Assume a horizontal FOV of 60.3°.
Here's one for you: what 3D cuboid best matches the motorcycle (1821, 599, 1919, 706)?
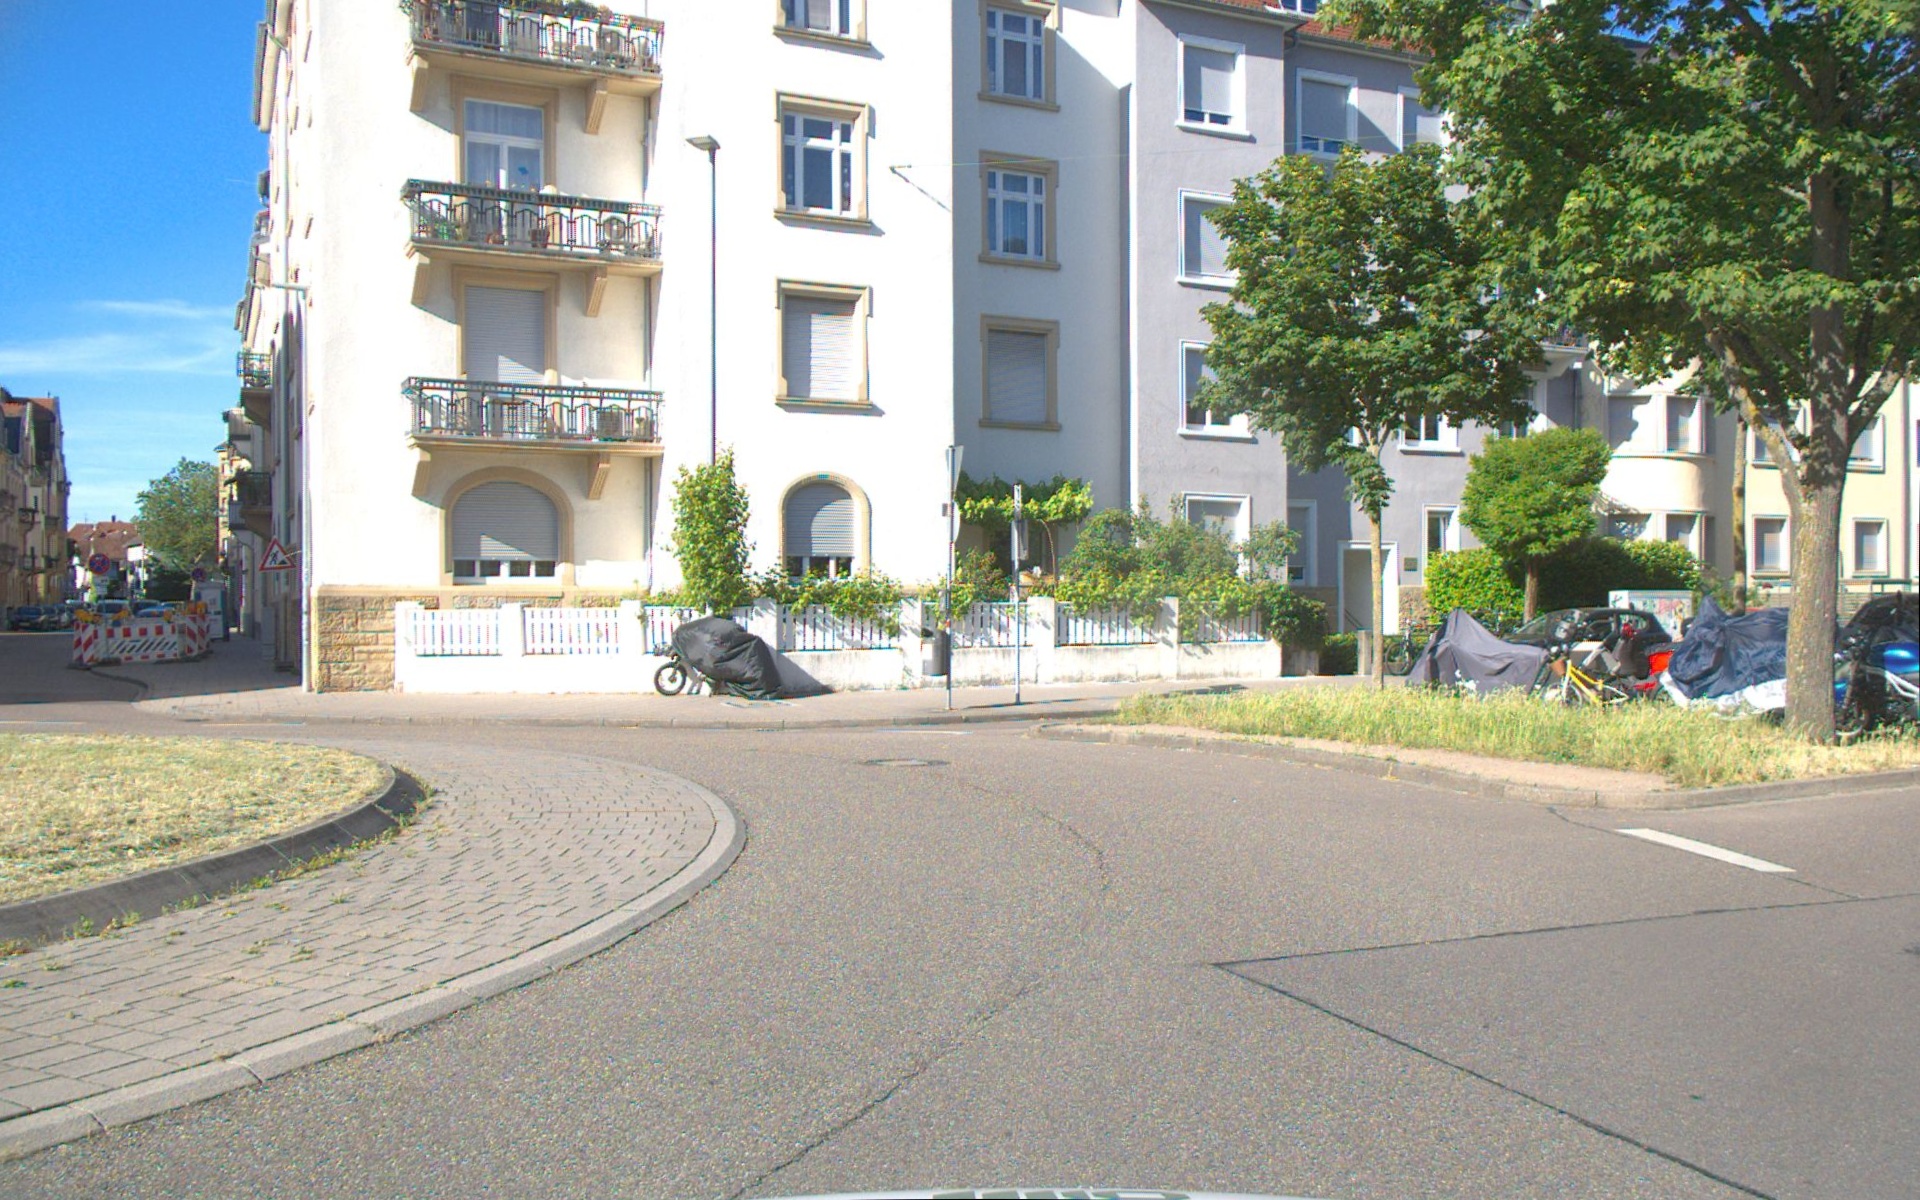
[{"bbox_3d":[11.869,0.626,20.204,1.036,1.290,2.223,0,0,-26],"label":"motorcycle"}]

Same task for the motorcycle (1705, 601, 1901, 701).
[{"bbox_3d":[11.553,0.675,22.752,1.036,1.290,2.223,0,0,-26],"label":"motorcycle"}]

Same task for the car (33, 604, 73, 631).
[{"bbox_3d":[-60.245,1.175,109.897,1.979,1.647,4.450,2,-2,-26],"label":"car"}]

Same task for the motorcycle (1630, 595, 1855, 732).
[{"bbox_3d":[8.194,0.634,17.416,0.851,1.351,2.033,0,0,-30],"label":"motorcycle"}]

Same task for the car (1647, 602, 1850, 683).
[{"bbox_3d":[15.394,0.790,32.275,3.800,1.470,1.736,0,0,-30],"label":"car"}]

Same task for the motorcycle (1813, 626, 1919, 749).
[{"bbox_3d":[9.143,0.823,15.611,0.802,1.091,1.830,0,1,-26],"label":"motorcycle"}]

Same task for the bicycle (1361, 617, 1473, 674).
[{"bbox_3d":[9.037,0.884,32.703,2.220,1.078,0.677,-1,0,-25],"label":"bicycle"}]

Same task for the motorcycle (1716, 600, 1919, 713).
[{"bbox_3d":[10.550,0.653,20.237,1.036,1.290,2.223,0,0,-26],"label":"motorcycle"}]

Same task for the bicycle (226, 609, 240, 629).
[{"bbox_3d":[-46.932,1.203,106.735,0.751,1.268,2.571,0,0,-25],"label":"bicycle"}]

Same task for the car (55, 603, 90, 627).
[{"bbox_3d":[-65.677,1.133,122.426,1.979,1.647,4.450,2,-2,-26],"label":"car"}]

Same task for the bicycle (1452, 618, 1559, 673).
[{"bbox_3d":[11.174,0.916,33.886,2.220,1.078,0.677,-1,0,-25],"label":"bicycle"}]

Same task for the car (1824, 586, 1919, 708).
[{"bbox_3d":[14.014,0.635,23.285,1.760,1.668,3.877,-1,0,2],"label":"car"}]

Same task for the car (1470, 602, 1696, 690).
[{"bbox_3d":[11.282,0.818,29.913,3.900,1.470,1.736,0,-2,-30],"label":"car"}]

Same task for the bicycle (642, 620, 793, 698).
[{"bbox_3d":[-3.814,0.919,26.031,2.230,1.178,0.767,0,-1,17],"label":"bicycle"}]

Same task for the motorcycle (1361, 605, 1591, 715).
[{"bbox_3d":[6.524,0.724,21.100,1.112,1.290,2.754,0,0,-32],"label":"motorcycle"}]

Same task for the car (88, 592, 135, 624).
[{"bbox_3d":[-41.776,0.410,81.468,1.815,1.456,3.998,-1,-1,-24],"label":"car"}]

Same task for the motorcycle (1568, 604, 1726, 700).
[{"bbox_3d":[9.372,0.686,22.637,0.876,1.258,1.878,0,0,-26],"label":"motorcycle"}]

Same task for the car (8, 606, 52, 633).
[{"bbox_3d":[-52.764,1.135,93.931,1.657,1.451,4.243,2,-2,-23],"label":"car"}]
